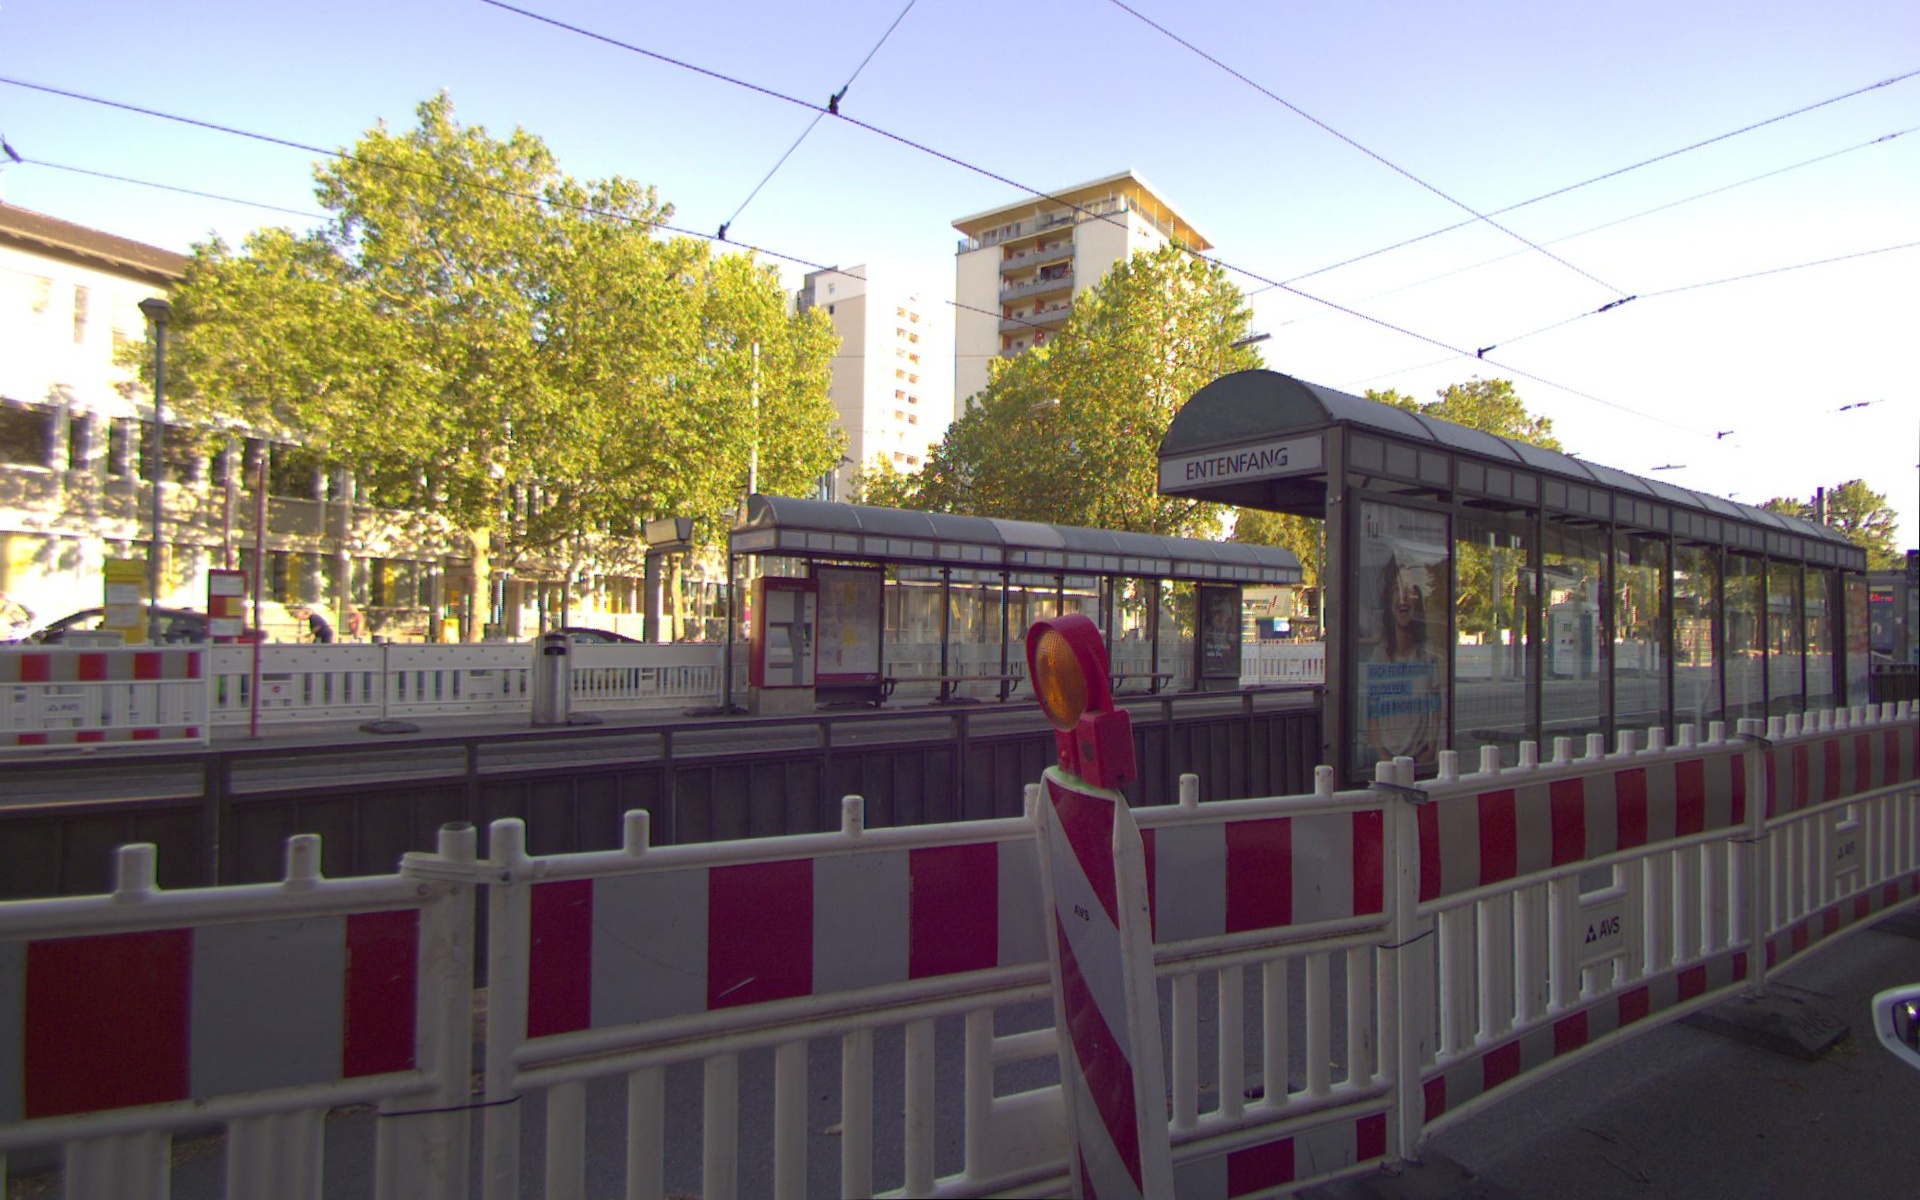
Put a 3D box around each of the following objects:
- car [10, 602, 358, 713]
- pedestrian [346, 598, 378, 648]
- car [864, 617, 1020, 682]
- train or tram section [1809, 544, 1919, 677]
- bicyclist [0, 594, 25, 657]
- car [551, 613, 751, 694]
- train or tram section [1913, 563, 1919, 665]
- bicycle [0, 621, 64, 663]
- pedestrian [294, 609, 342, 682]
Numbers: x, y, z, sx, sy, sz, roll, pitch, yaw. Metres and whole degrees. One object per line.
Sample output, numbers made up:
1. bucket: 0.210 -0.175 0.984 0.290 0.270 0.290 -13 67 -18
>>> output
1. car: -13.078 0.950 17.363 4.511 1.683 1.982 2 -2 -34
2. pedestrian: -17.873 0.684 30.008 0.576 1.474 0.585 0 -1 30
3. car: -0.473 1.348 27.908 3.959 1.683 1.901 2 -2 -34
4. train or tram section: 30.038 0.429 31.305 11.656 3.580 2.668 2 0 -36
5. bicyclist: -23.875 0.630 24.923 0.566 1.547 0.844 0 -2 30
6. car: -6.997 1.182 22.863 3.958 1.683 1.982 2 -2 -33
7. train or tram section: 39.298 0.680 38.198 11.477 3.606 2.666 2 0 -38
8. bicycle: -23.843 1.039 24.988 0.666 1.045 2.186 0 -2 30
9. pedestrian: -16.857 1.190 26.389 0.921 1.858 0.691 2 -2 -43
